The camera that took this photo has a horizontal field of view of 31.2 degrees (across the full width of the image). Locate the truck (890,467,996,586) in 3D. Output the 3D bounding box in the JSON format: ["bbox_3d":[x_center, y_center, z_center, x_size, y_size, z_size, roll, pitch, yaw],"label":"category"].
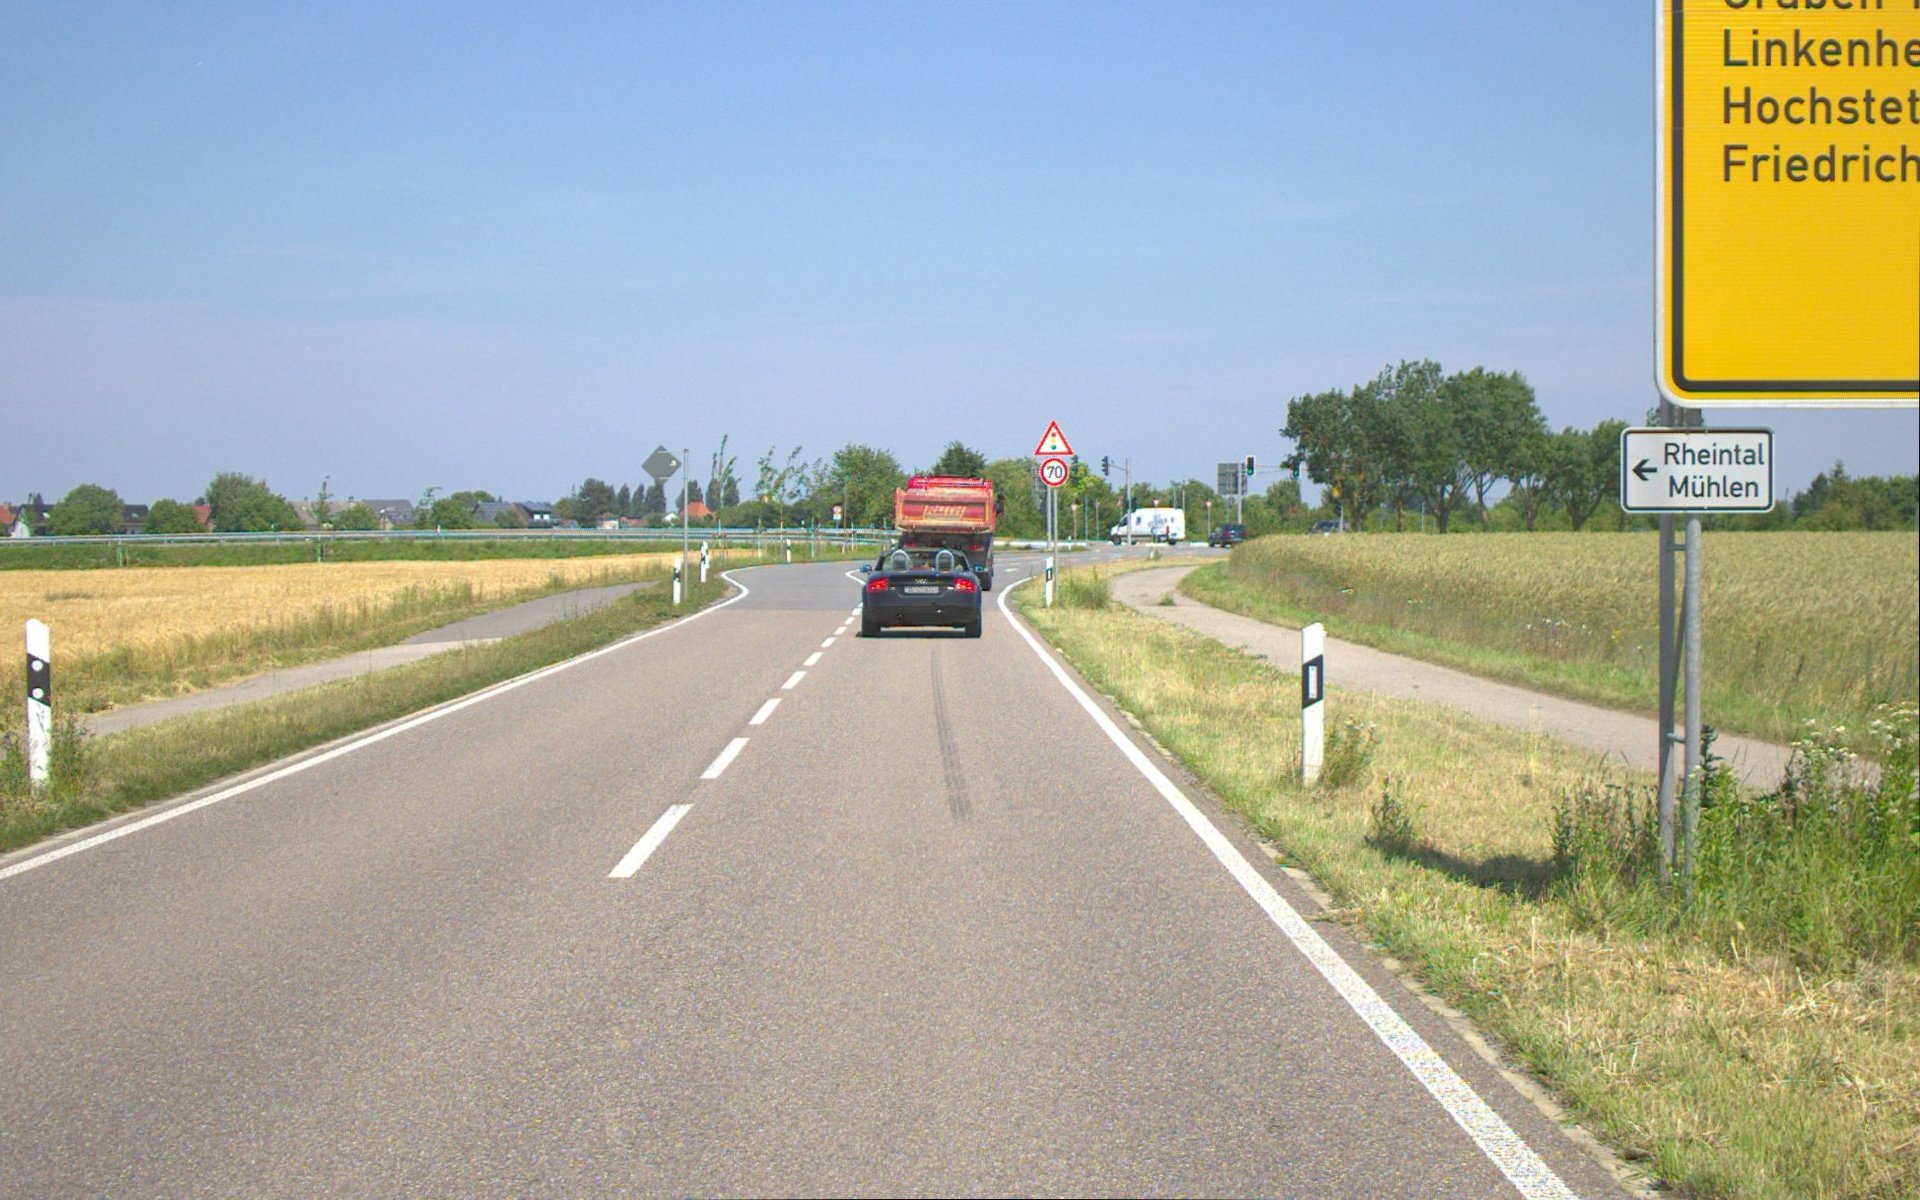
[{"bbox_3d":[-0.482,-1.954,93.486,2.714,3.042,8.165,1,0,-1],"label":"truck"}]

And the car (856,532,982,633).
[{"bbox_3d":[-0.591,-0.264,50.662,1.747,1.371,3.679,2,0,0],"label":"car"}]
